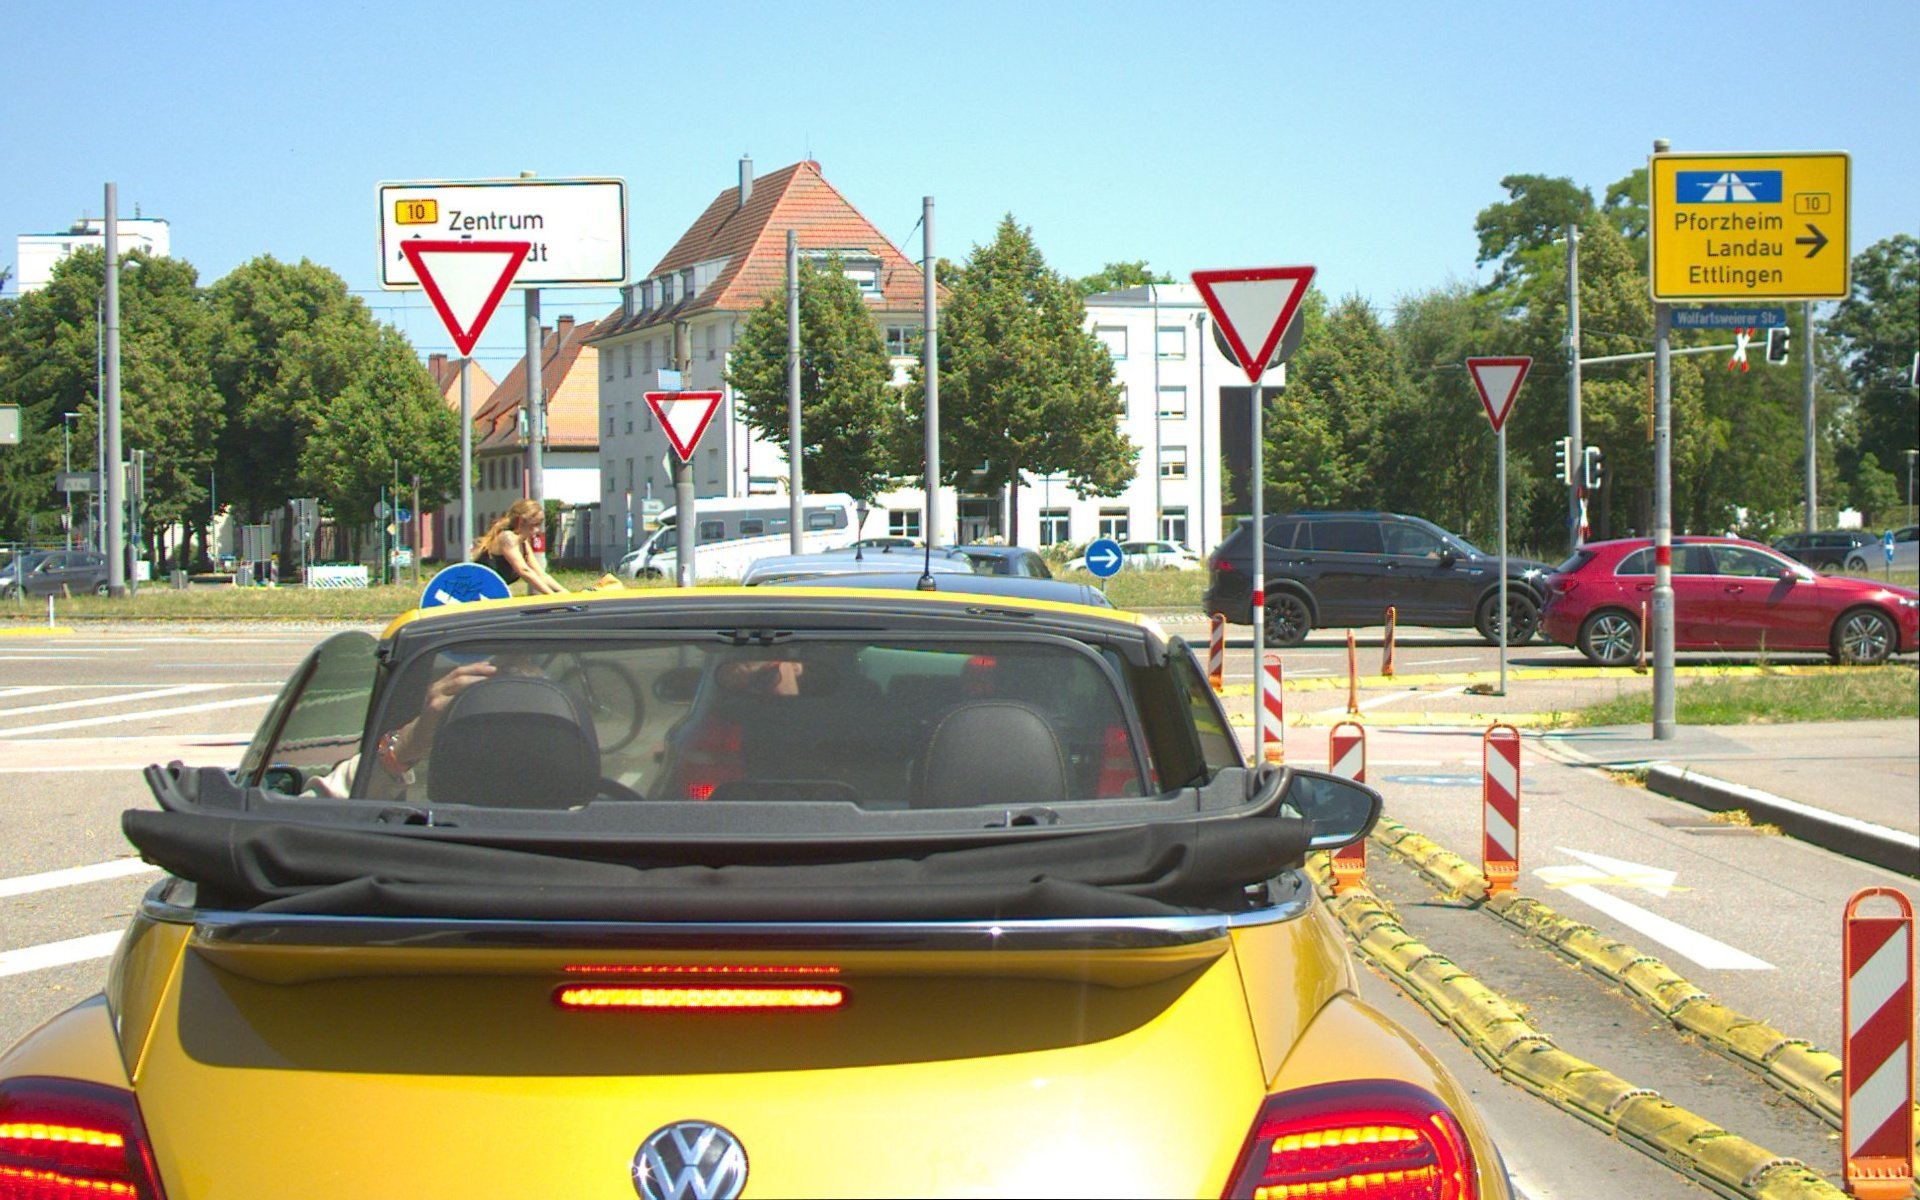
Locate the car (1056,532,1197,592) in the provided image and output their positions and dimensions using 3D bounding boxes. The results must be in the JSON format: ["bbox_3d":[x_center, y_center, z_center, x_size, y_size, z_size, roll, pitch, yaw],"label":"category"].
[{"bbox_3d":[5.065,-1.157,104.175,3.989,1.766,1.785,1,0,13],"label":"car"}]

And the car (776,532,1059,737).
[{"bbox_3d":[-0.341,0.207,27.611,2.065,1.476,4.543,-1,1,-1],"label":"car"}]

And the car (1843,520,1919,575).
[{"bbox_3d":[24.195,-1.301,85.758,1.746,1.367,4.332,1,1,-28],"label":"car"}]

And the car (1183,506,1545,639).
[{"bbox_3d":[5.058,-0.356,43.319,4.406,1.590,2.000,-1,1,6],"label":"car"}]

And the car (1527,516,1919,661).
[{"bbox_3d":[8.626,-0.132,38.381,4.406,1.522,2.000,1,0,6],"label":"car"}]

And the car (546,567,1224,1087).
[{"bbox_3d":[-0.229,0.606,11.610,1.851,1.361,4.258,-1,1,-1],"label":"car"}]

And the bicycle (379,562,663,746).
[{"bbox_3d":[-3.060,0.377,24.016,1.843,1.227,0.613,-2,0,10],"label":"bicycle"}]

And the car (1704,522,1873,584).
[{"bbox_3d":[24.006,-1.366,99.702,1.844,1.730,4.442,0,1,-44],"label":"car"}]

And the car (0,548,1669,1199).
[{"bbox_3d":[-0.306,0.679,5.086,1.765,1.476,4.258,1,1,-1],"label":"car"}]

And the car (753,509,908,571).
[{"bbox_3d":[-3.778,-1.754,100.781,4.430,1.730,1.848,1,0,2],"label":"car"}]

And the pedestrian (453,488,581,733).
[{"bbox_3d":[-3.093,0.068,24.033,0.733,1.685,0.575,1,0,9],"label":"pedestrian"}]

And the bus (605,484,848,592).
[{"bbox_3d":[-7.106,-1.872,104.321,7.251,3.161,2.261,1,0,-5],"label":"bus"}]

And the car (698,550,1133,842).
[{"bbox_3d":[-0.238,0.440,18.620,2.065,1.377,4.258,1,1,-1],"label":"car"}]

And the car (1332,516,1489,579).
[{"bbox_3d":[12.828,-1.501,98.080,1.843,1.730,4.444,0,1,-37],"label":"car"}]
